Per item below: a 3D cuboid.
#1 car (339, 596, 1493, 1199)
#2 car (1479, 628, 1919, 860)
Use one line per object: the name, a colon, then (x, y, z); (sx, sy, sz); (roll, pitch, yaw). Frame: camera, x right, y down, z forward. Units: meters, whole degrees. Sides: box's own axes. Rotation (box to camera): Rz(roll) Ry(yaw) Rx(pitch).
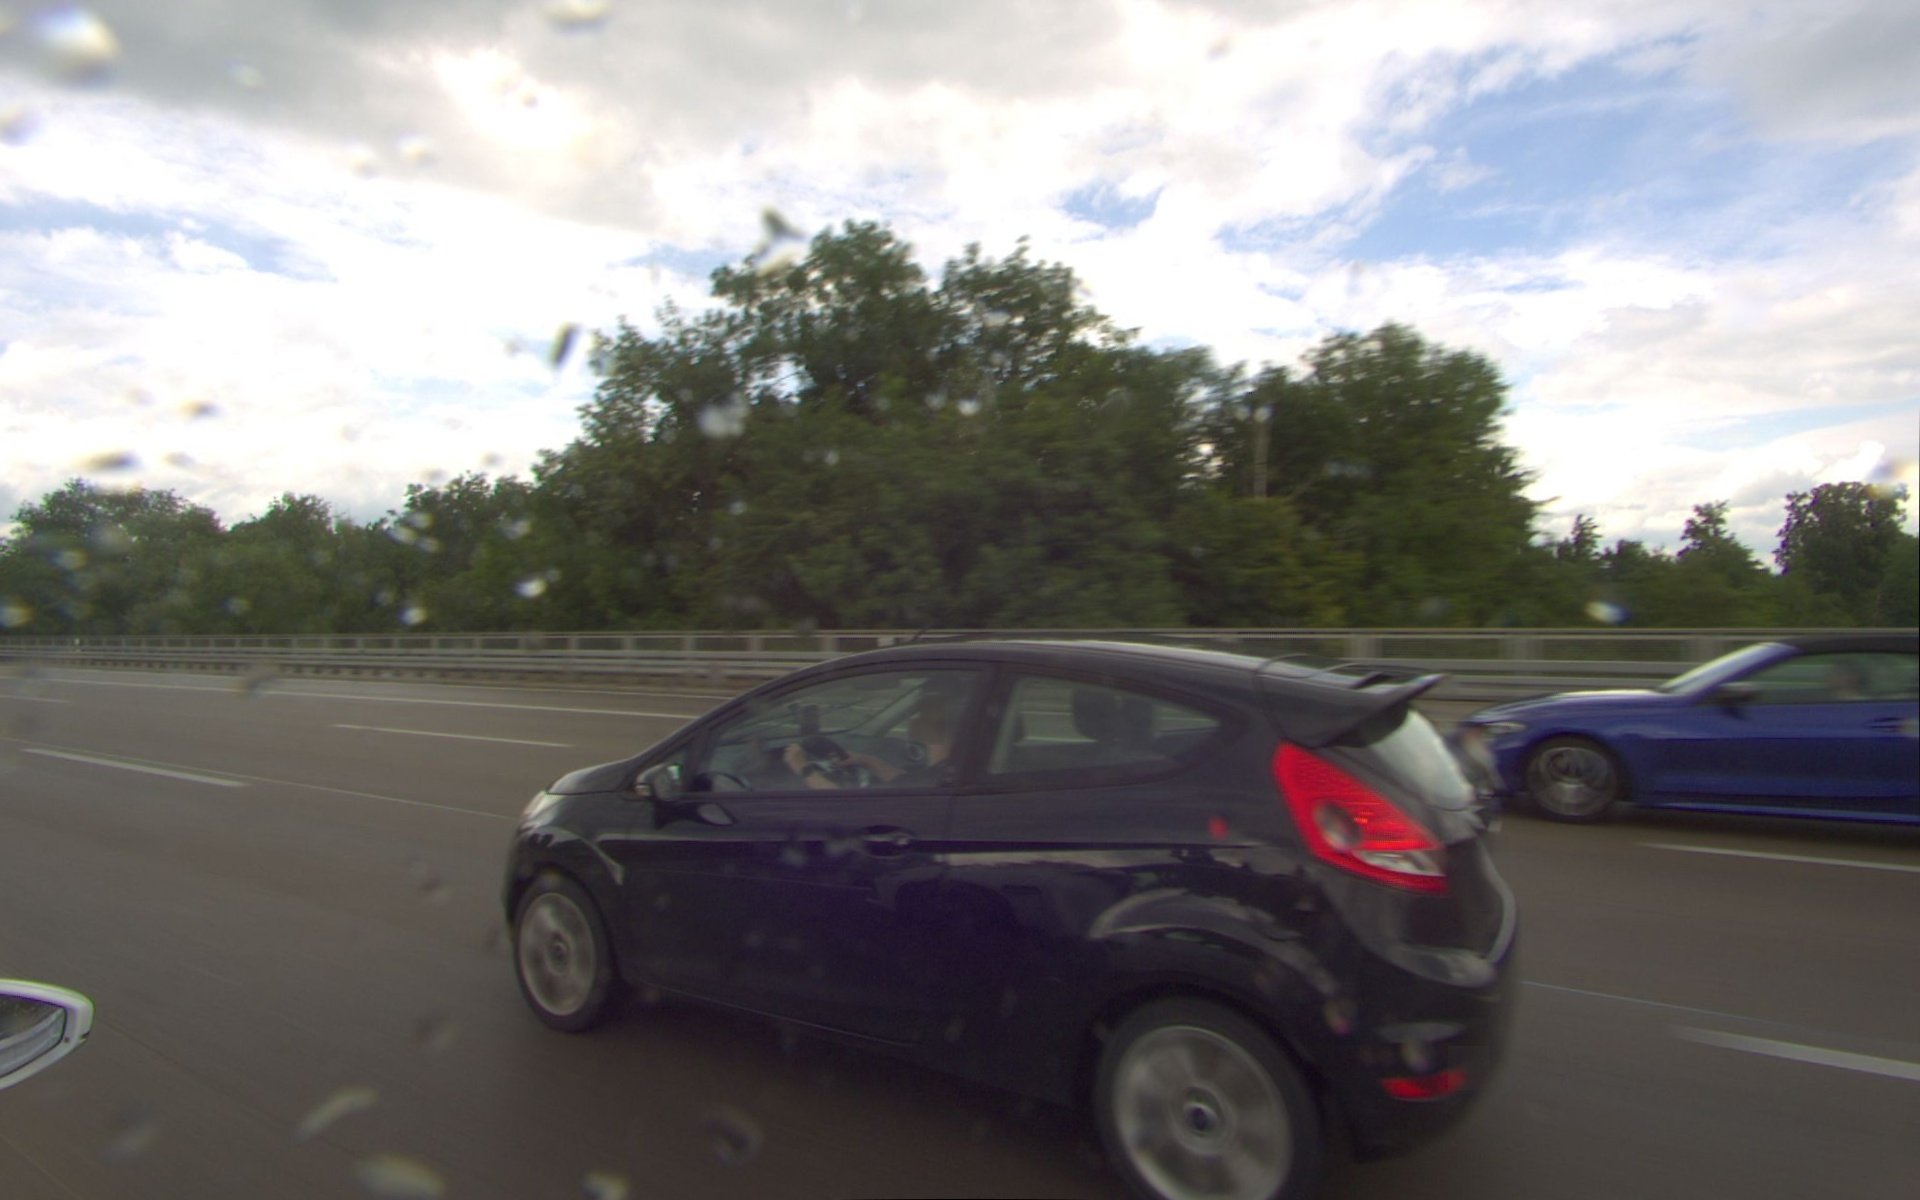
car: (-0.415, 0.774, 3.918); (4.341, 1.458, 1.661); (-1, -1, 31)
car: (6.383, 0.943, 7.264); (4.522, 1.465, 1.774); (-1, -1, 32)
